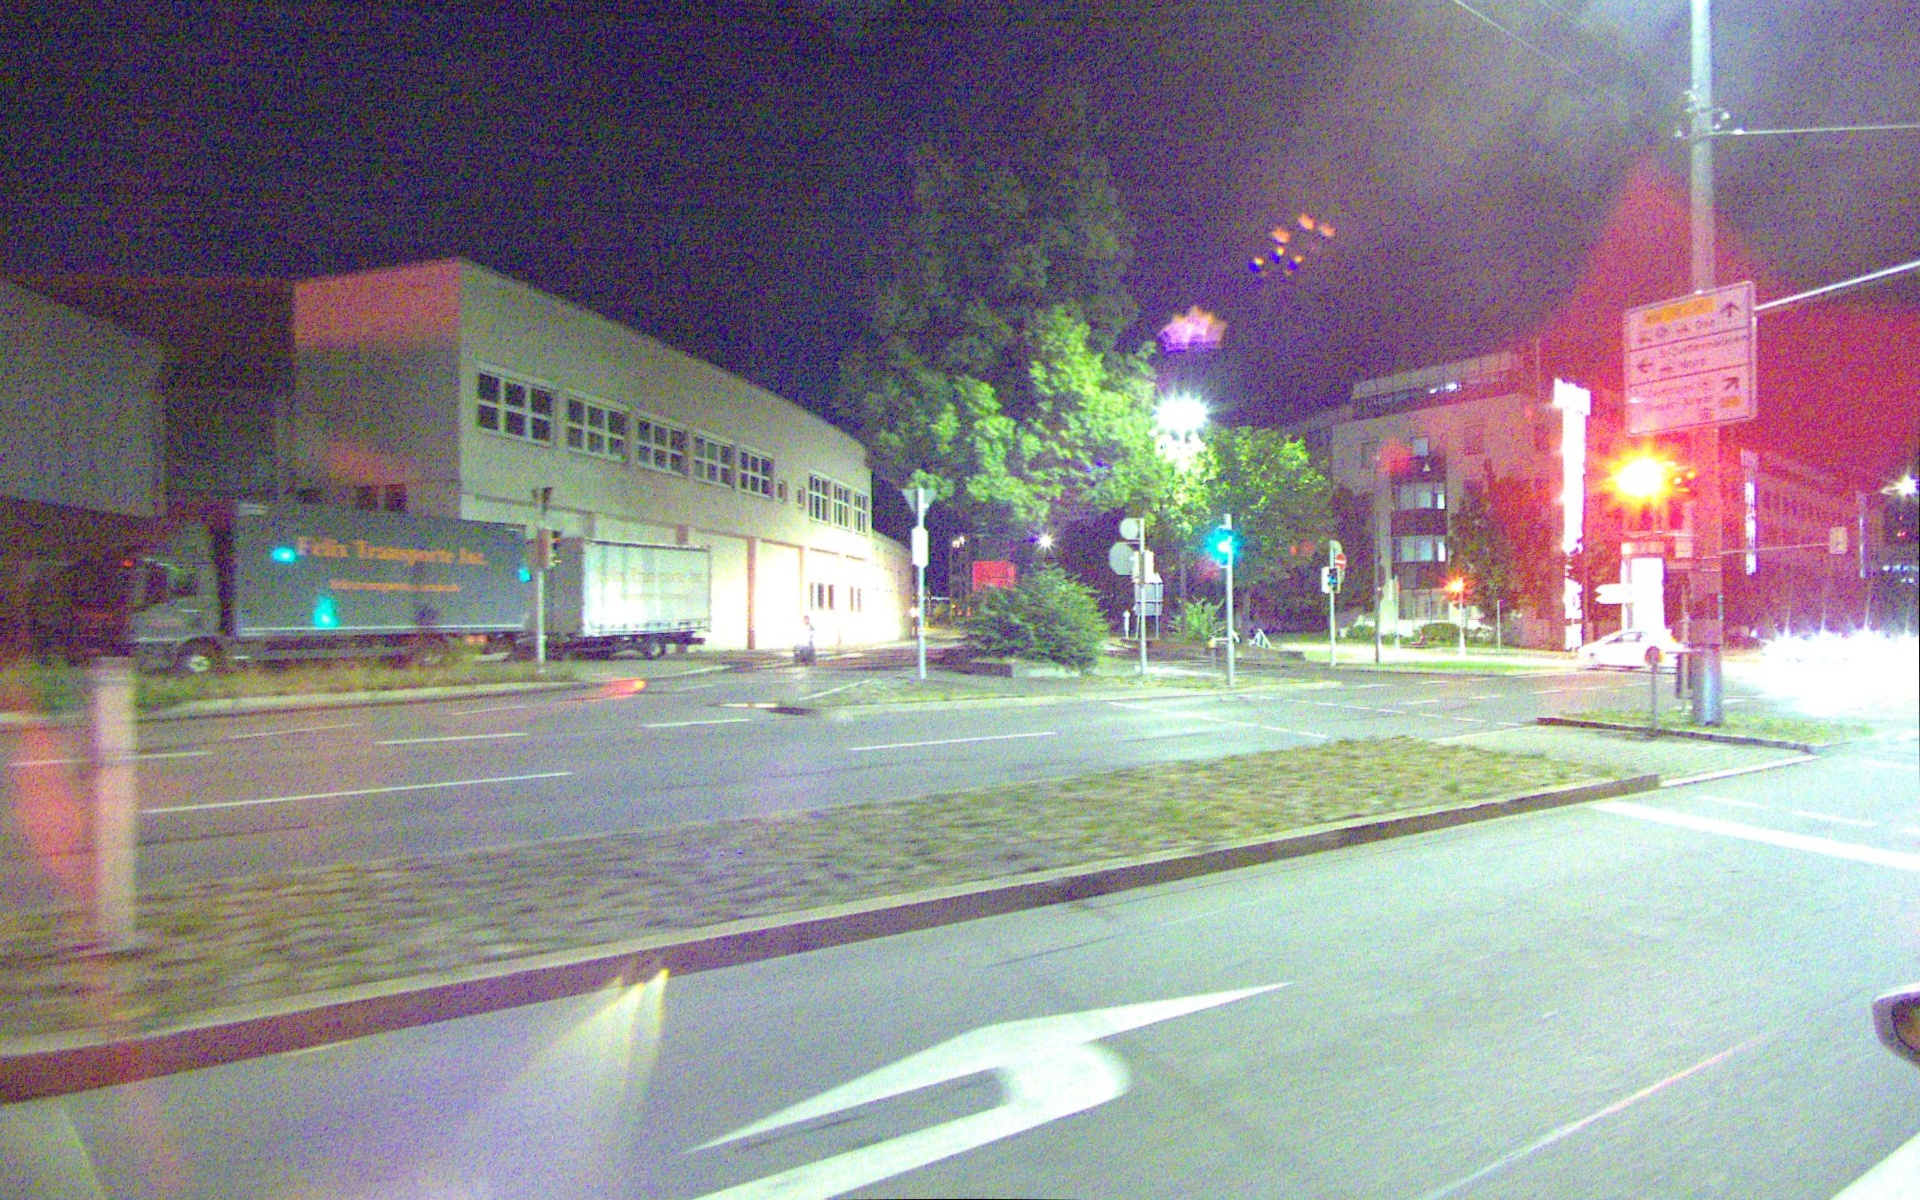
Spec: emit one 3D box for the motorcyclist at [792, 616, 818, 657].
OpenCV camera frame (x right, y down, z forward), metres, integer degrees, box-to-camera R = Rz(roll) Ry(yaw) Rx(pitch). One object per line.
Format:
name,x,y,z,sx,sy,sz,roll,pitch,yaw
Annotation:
motorcyclist,-4.885,1.149,31.648,0.635,1.278,0.579,1,-1,9

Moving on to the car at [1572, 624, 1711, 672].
car,23.170,1.581,34.334,1.678,1.511,3.995,1,-1,-8

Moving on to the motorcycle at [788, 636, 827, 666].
motorcycle,-4.788,1.601,31.704,0.568,0.907,2.157,-2,-2,9

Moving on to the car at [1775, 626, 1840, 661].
car,39.857,2.048,47.229,3.965,1.535,1.603,2,-2,-38

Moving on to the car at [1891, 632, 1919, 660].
car,62.249,3.014,65.534,3.517,1.750,1.744,2,-2,-39

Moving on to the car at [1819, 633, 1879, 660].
car,45.822,2.395,51.761,3.517,1.339,1.744,2,-2,-39

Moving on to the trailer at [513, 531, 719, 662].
trailer,-10.995,-0.005,32.855,2.572,3.841,6.511,1,-1,23

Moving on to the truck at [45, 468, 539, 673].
truck,-14.903,-0.419,23.790,2.892,3.846,9.550,1,-2,25
